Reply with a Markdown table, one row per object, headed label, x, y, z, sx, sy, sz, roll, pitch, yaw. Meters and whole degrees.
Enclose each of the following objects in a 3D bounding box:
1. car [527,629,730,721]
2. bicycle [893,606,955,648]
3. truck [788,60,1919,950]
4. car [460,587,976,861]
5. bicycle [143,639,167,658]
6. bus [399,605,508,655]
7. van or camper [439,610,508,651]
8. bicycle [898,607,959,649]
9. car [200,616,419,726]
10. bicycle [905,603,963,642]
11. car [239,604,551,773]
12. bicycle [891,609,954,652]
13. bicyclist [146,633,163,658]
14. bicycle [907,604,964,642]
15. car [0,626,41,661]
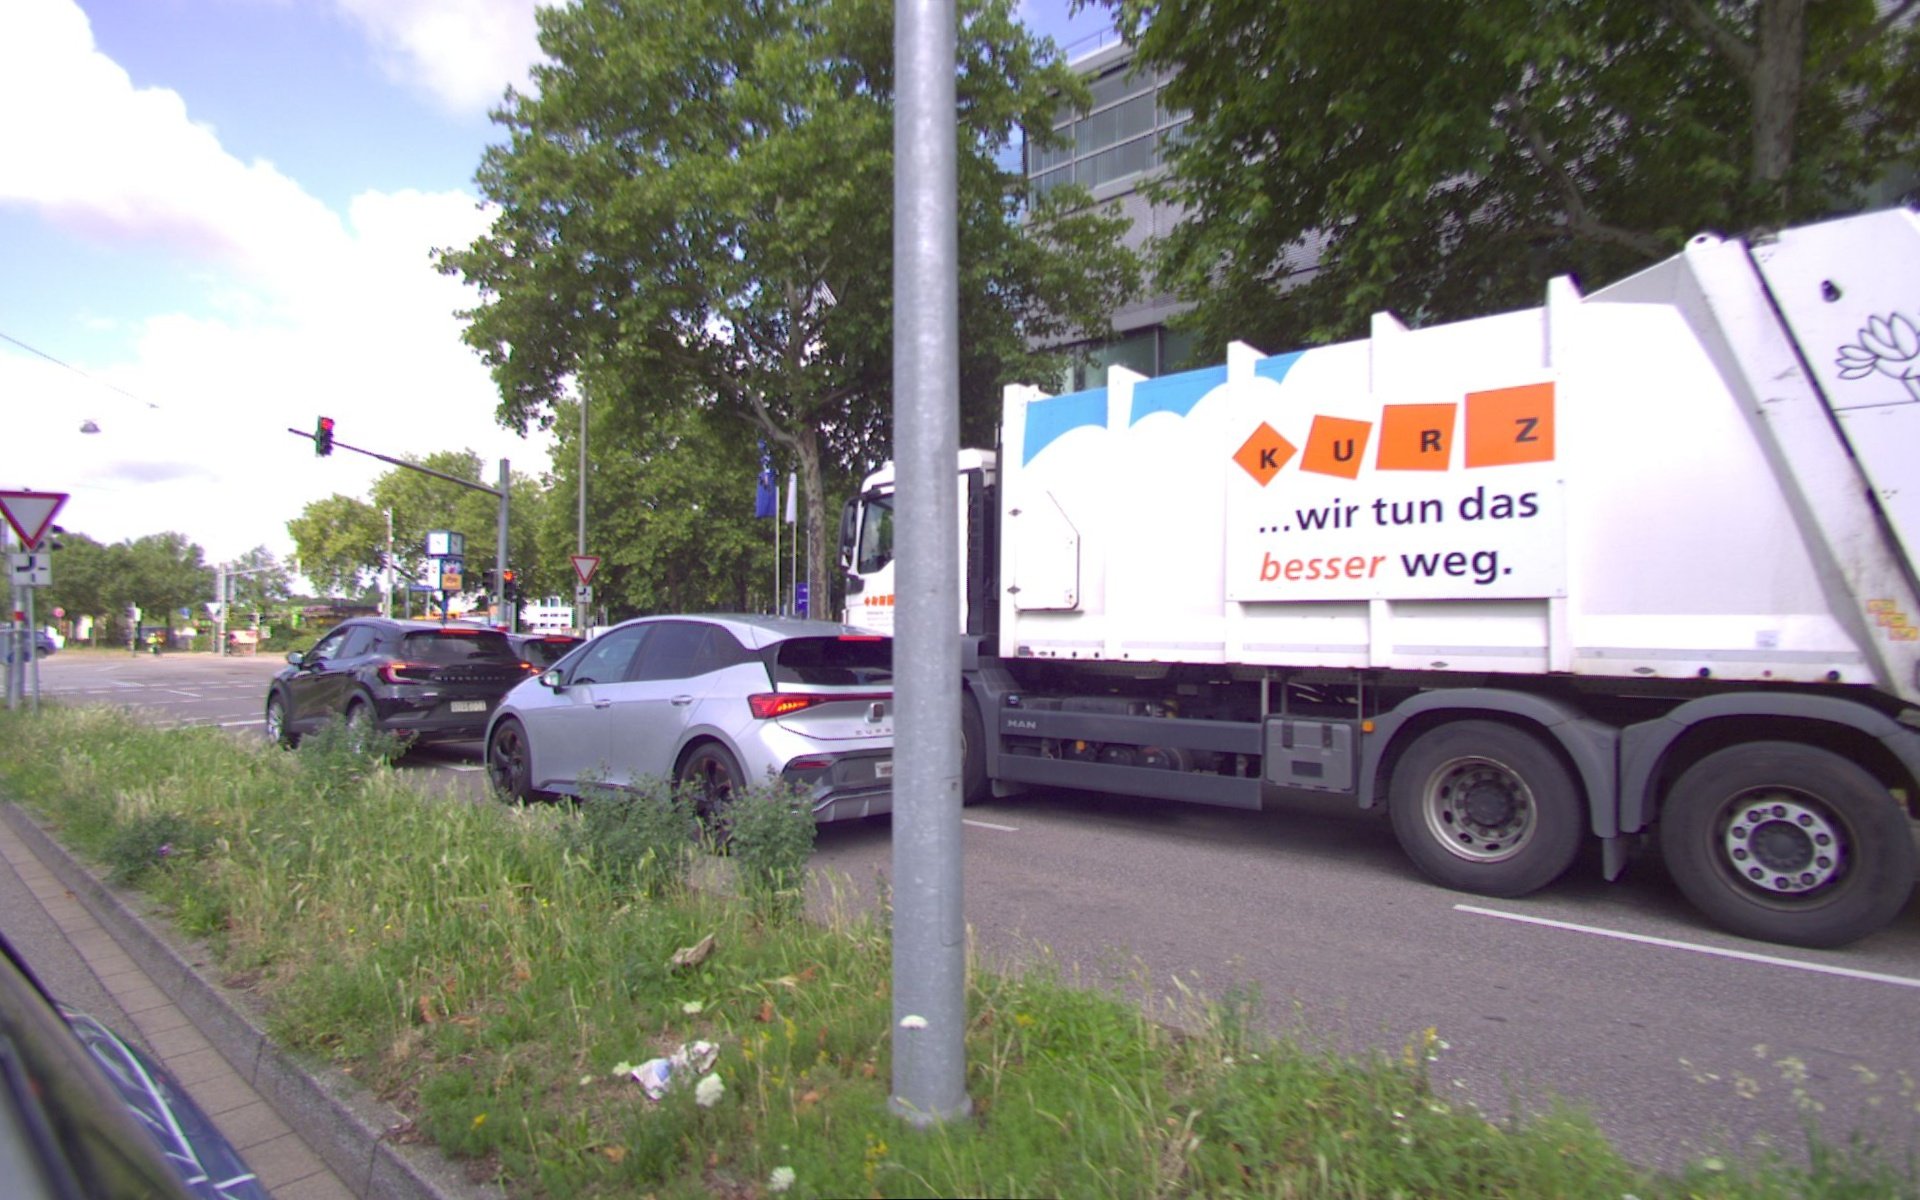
| label | x | y | z | sx | sy | sz | roll | pitch | yaw |
| --- | --- | --- | --- | --- | --- | --- | --- | --- | --- |
| car | -6.510 | 1.439 | 19.733 | 3.993 | 1.584 | 1.713 | -1 | -7 | 37 |
| bicycle | -1.323 | 0.991 | 37.493 | 2.159 | 1.451 | 0.688 | 3 | 1 | 15 |
| truck | 3.014 | -0.330 | 7.300 | 10.157 | 3.918 | 2.621 | -1 | -4 | 42 |
| car | -2.057 | 0.776 | 7.858 | 4.231 | 1.564 | 1.726 | -1 | -4 | 41 |
| bicycle | -57.084 | 3.444 | 71.759 | 2.227 | 1.205 | 0.670 | 1 | 4 | 34 |
| bus | -40.751 | 2.297 | 81.948 | 2.712 | 3.491 | 10.378 | 3 | 1 | 5 |
| van or camper | -37.810 | 2.320 | 78.877 | 2.137 | 2.806 | 5.958 | 3 | 1 | 4 |
| bicycle | -1.195 | 1.063 | 38.541 | 2.159 | 1.451 | 0.688 | 3 | 1 | 15 |
| car | -10.894 | 1.105 | 16.828 | 4.565 | 1.586 | 1.845 | -2 | -2 | 41 |
| bicycle | -1.005 | 0.868 | 39.280 | 2.118 | 1.394 | 0.739 | 3 | 1 | 13 |
| car | -6.630 | 0.918 | 11.674 | 4.359 | 1.599 | 1.690 | -2 | -4 | 40 |
| bicycle | -1.362 | 1.092 | 36.733 | 2.159 | 1.451 | 0.688 | 3 | 1 | 15 |
| bicyclist | -57.091 | 3.196 | 71.747 | 0.835 | 1.692 | 0.670 | 1 | 3 | 33 |
| bicycle | -0.973 | 0.893 | 40.070 | 2.118 | 1.394 | 0.739 | 3 | 1 | 13 |
| car | -43.965 | 2.014 | 45.361 | 1.750 | 1.475 | 3.994 | -1 | 1 | 5 |
